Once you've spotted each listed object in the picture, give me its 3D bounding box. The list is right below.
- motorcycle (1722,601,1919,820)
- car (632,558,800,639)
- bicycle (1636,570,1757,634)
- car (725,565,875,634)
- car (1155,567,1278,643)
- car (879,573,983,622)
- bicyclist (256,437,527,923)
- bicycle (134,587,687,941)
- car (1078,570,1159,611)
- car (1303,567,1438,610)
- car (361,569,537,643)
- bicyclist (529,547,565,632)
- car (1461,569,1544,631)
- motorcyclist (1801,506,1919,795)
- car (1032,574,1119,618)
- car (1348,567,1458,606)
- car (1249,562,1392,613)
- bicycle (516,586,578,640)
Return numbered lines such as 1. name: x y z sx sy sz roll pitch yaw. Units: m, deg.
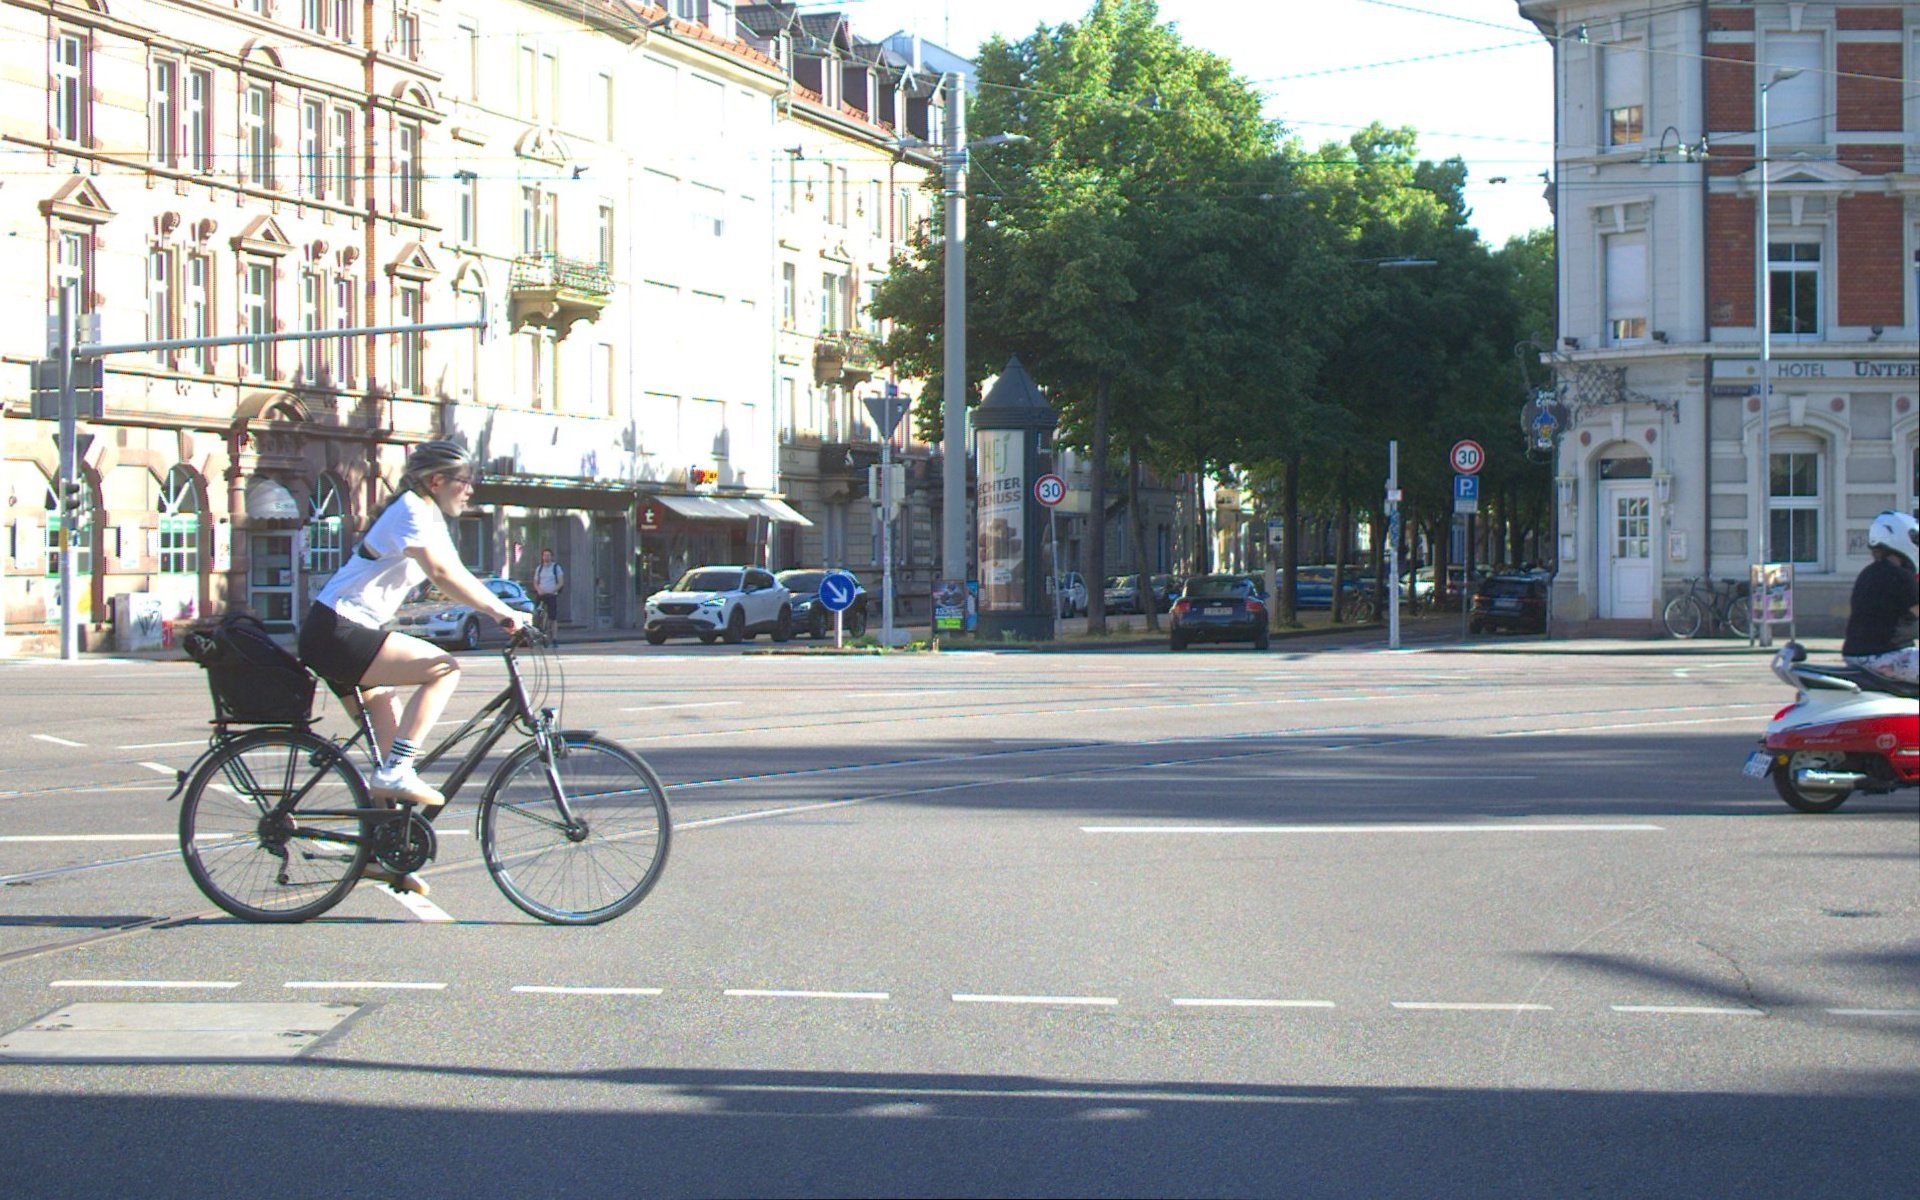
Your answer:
1. motorcycle: 5.092 0.568 18.212 2.025 1.114 0.505 0 1 -11
2. car: -4.746 -0.054 67.468 1.995 1.511 4.166 0 1 16
3. bicycle: 12.275 0.024 57.339 1.953 1.050 0.715 0 1 10
4. car: -3.392 -0.042 73.642 1.995 1.400 4.166 0 1 16
5. car: 4.619 0.069 62.407 1.717 1.296 4.074 0 1 -3
6. car: -0.835 -0.093 102.088 1.995 1.400 4.166 0 1 16
7. bicyclist: -2.051 0.273 12.491 0.938 1.707 0.734 0 1 -7
8. bicycle: -1.978 0.573 12.509 1.922 1.219 0.743 0 1 -8
9. car: 5.661 -0.341 122.576 1.995 1.400 4.166 0 1 16
10. car: 12.585 -0.349 105.390 3.989 1.284 1.694 0 1 11
11. car: -9.921 0.101 67.042 1.995 1.357 3.816 0 1 16
12. bicyclist: -7.833 -0.204 65.192 0.489 1.596 0.666 0 1 10
13. car: 13.054 -0.027 82.526 1.756 1.415 3.998 0 1 12
14. motorcyclist: 4.989 0.254 18.232 0.814 1.502 0.660 0 1 -12
15. car: 3.948 -0.152 116.858 1.995 1.400 4.166 0 1 16
16. car: 14.371 -0.431 111.463 3.435 1.235 1.576 0 1 11
17. car: 10.455 -0.363 99.682 3.989 1.450 1.681 0 1 11
18. bicycle: -7.841 0.231 65.299 0.655 0.997 1.664 1 1 12
